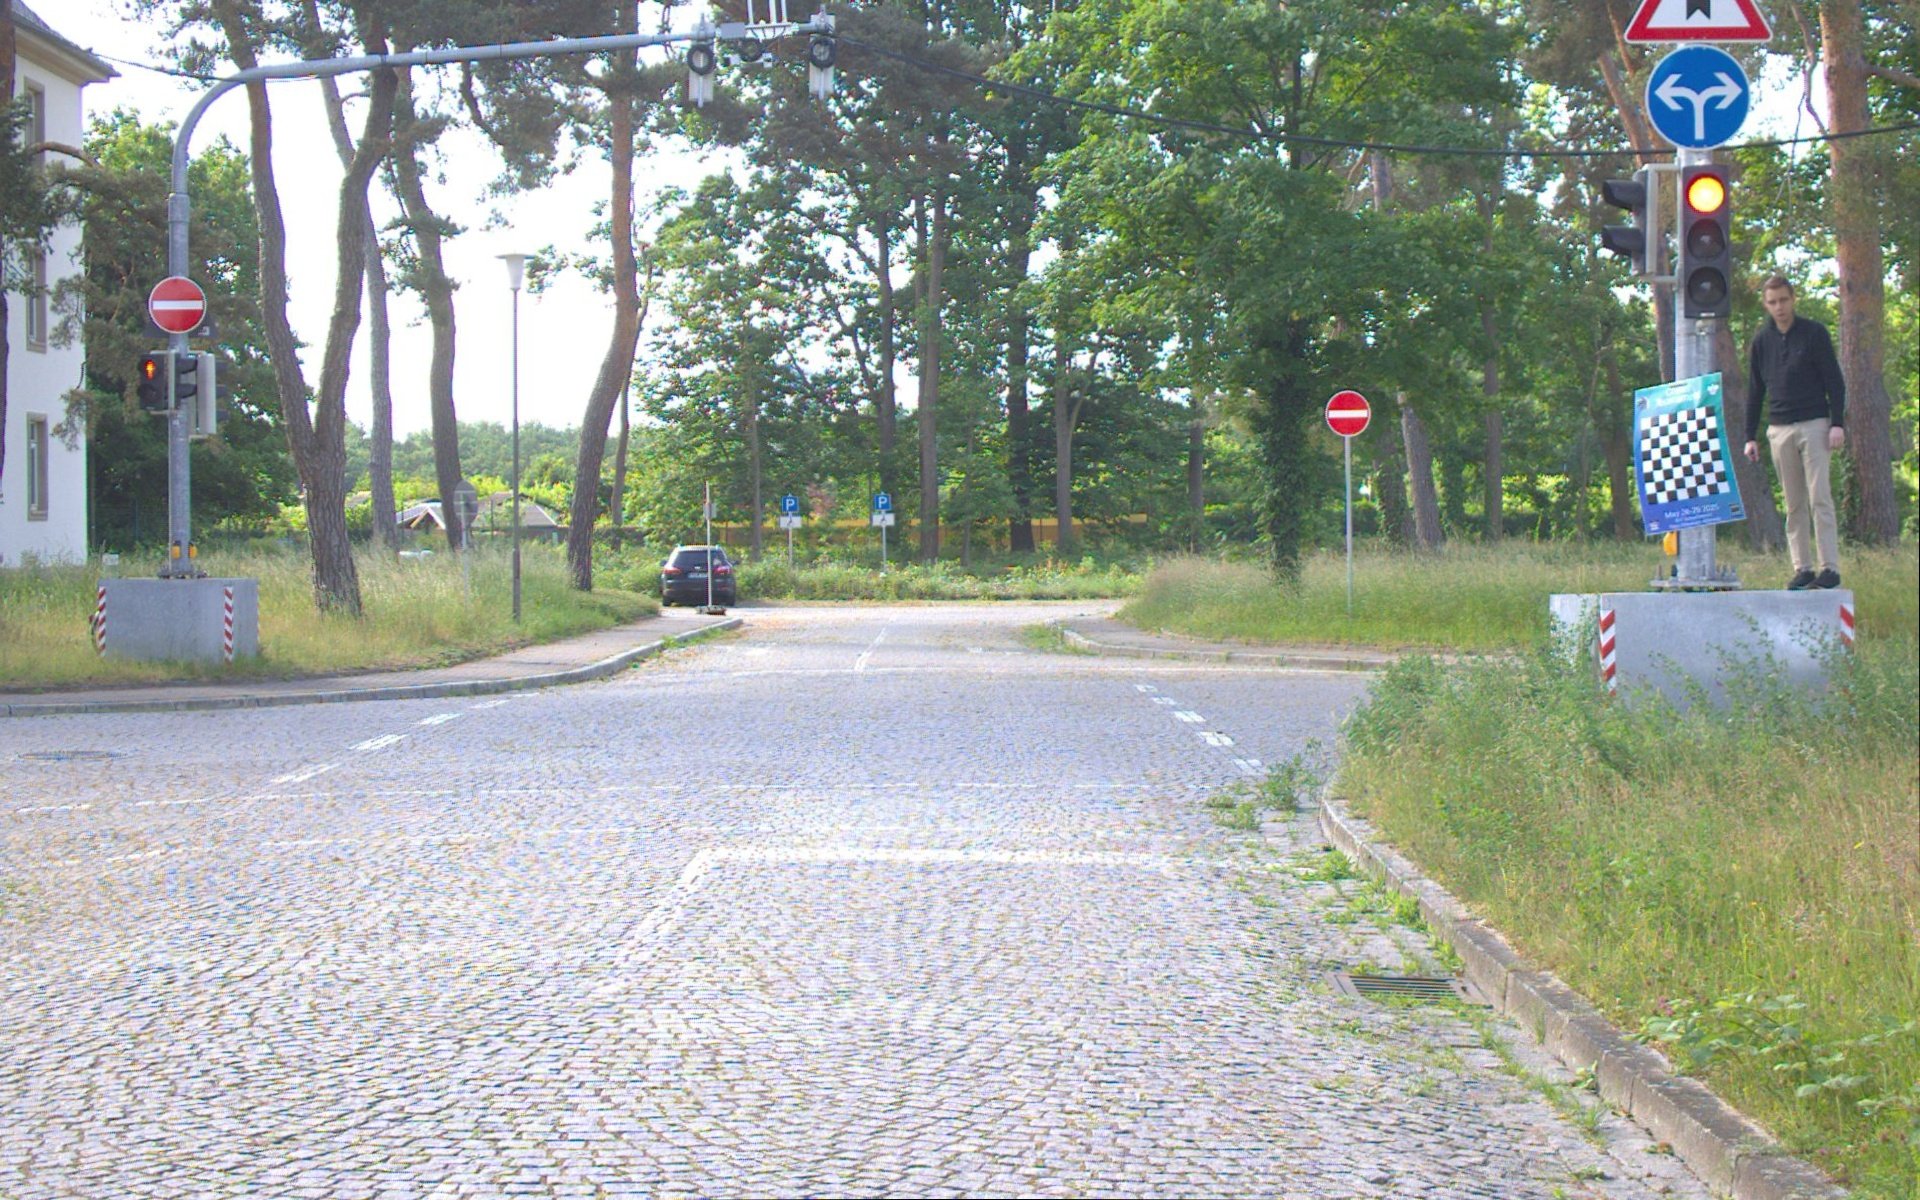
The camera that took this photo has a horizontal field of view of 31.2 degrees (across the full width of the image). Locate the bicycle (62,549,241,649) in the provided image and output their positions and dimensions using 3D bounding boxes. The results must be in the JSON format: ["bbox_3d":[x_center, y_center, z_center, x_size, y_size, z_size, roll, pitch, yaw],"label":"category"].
[{"bbox_3d":[-8.936,-0.020,38.042,0.634,1.062,1.946,0,1,38],"label":"bicycle"}]

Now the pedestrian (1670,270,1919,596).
[{"bbox_3d":[4.809,-0.934,19.695,1.170,1.790,1.061,0,1,29],"label":"pedestrian"}]

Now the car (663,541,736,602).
[{"bbox_3d":[-6.599,-0.750,87.431,1.709,1.491,3.919,-1,1,-3],"label":"car"}]
